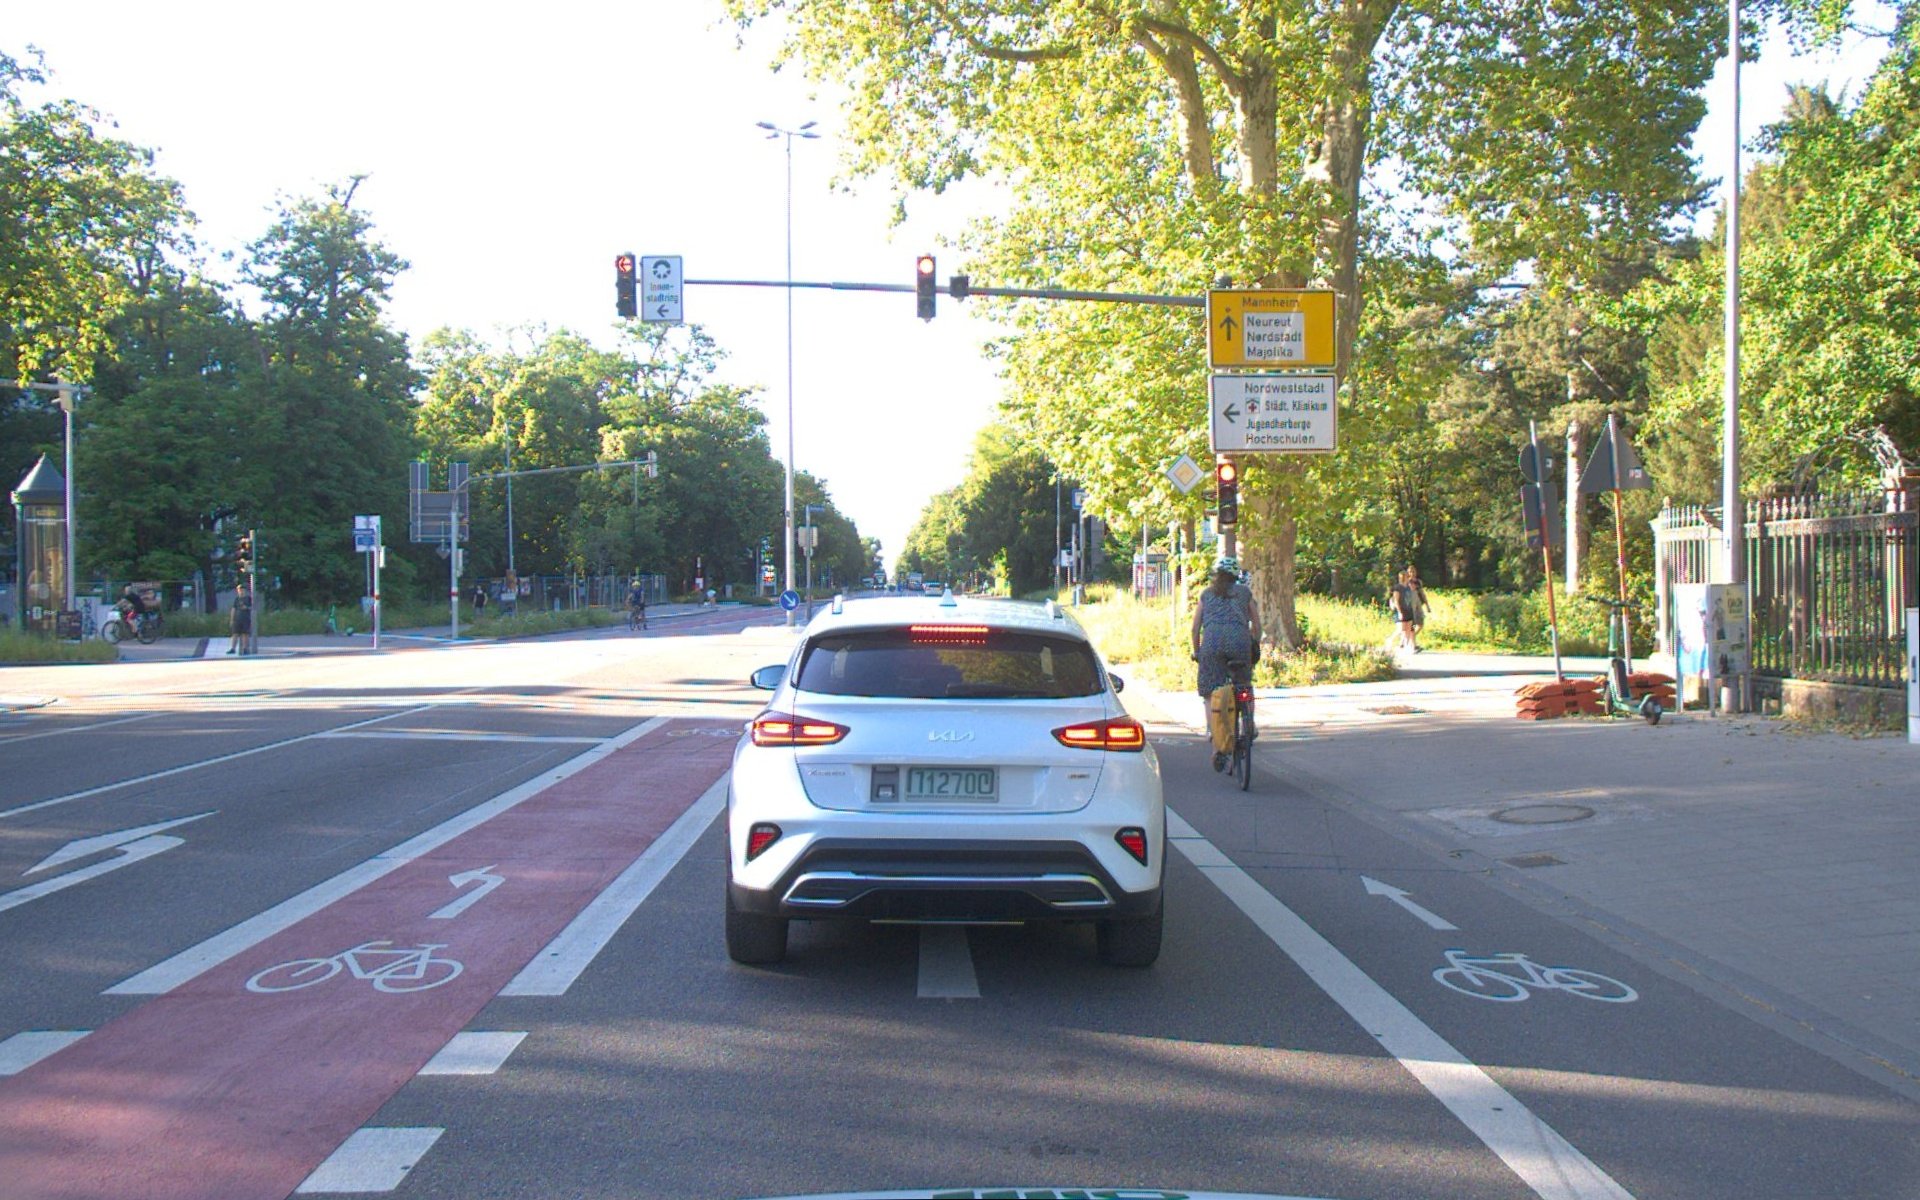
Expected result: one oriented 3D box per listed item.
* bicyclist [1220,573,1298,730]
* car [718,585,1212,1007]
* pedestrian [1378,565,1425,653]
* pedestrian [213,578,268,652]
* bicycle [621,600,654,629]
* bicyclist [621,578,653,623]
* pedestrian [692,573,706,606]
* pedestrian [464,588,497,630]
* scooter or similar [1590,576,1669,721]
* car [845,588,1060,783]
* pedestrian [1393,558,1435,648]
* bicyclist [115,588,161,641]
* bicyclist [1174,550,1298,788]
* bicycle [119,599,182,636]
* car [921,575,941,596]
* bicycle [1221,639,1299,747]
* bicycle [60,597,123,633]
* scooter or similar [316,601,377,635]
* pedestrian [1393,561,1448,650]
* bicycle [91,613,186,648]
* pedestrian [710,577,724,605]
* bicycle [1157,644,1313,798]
[{"bbox_3d":[2.978,0.507,16.534,0.543,1.504,0.716,-3,0,-2],"label":"bicyclist"},{"bbox_3d":[-0.050,0.687,7.941,1.785,1.506,3.935,0,1,-2],"label":"car"},{"bbox_3d":[8.849,0.169,33.157,0.676,1.729,0.643,-1,0,-7],"label":"pedestrian"},{"bbox_3d":[-20.374,0.417,46.855,0.974,2.049,1.191,0,0,4],"label":"pedestrian"},{"bbox_3d":[-11.843,0.516,60.732,0.650,1.006,2.504,-1,1,1],"label":"bicycle"},{"bbox_3d":[-11.854,0.015,60.743,0.857,1.636,1.188,-1,0,1],"label":"bicyclist"},{"bbox_3d":[-16.536,-0.676,104.746,0.627,2.049,0.754,0,0,10],"label":"pedestrian"},{"bbox_3d":[-19.036,0.358,65.669,1.067,1.631,0.999,-1,0,-7],"label":"pedestrian"},{"bbox_3d":[6.470,0.446,16.021,0.223,1.350,1.171,-1,0,-2],"label":"scooter or similar"},{"bbox_3d":[-0.132,0.667,14.972,1.694,1.509,3.515,-1,1,-3],"label":"car"},{"bbox_3d":[9.264,0.054,33.749,0.604,1.802,0.646,-1,0,-8],"label":"pedestrian"},{"bbox_3d":[-25.683,0.451,51.669,0.954,1.634,0.878,-1,0,0],"label":"bicyclist"},{"bbox_3d":[2.213,0.528,13.394,0.738,1.827,1.164,1,0,-2],"label":"bicyclist"},{"bbox_3d":[-26.214,0.560,53.557,1.826,1.168,0.290,0,0,-8],"label":"bicycle"},{"bbox_3d":[-2.924,-1.484,165.242,1.953,2.049,3.999,-1,1,-1],"label":"car"},{"bbox_3d":[3.001,0.908,16.621,0.393,0.973,1.550,-3,0,-2],"label":"bicycle"},{"bbox_3d":[-28.277,0.486,53.848,1.823,1.168,0.443,0,0,2],"label":"bicycle"},{"bbox_3d":[-20.773,0.608,55.994,0.697,1.144,1.916,0,0,32],"label":"scooter or similar"},{"bbox_3d":[9.557,0.111,34.364,0.802,1.802,0.831,-1,0,-8],"label":"pedestrian"},{"bbox_3d":[-25.669,0.958,51.676,2.650,1.006,0.581,-1,0,-1],"label":"bicycle"},{"bbox_3d":[-15.468,-0.568,105.237,0.769,1.817,0.751,0,0,0],"label":"pedestrian"},{"bbox_3d":[2.197,0.932,13.579,0.742,1.031,2.568,1,1,-2],"label":"bicycle"}]
